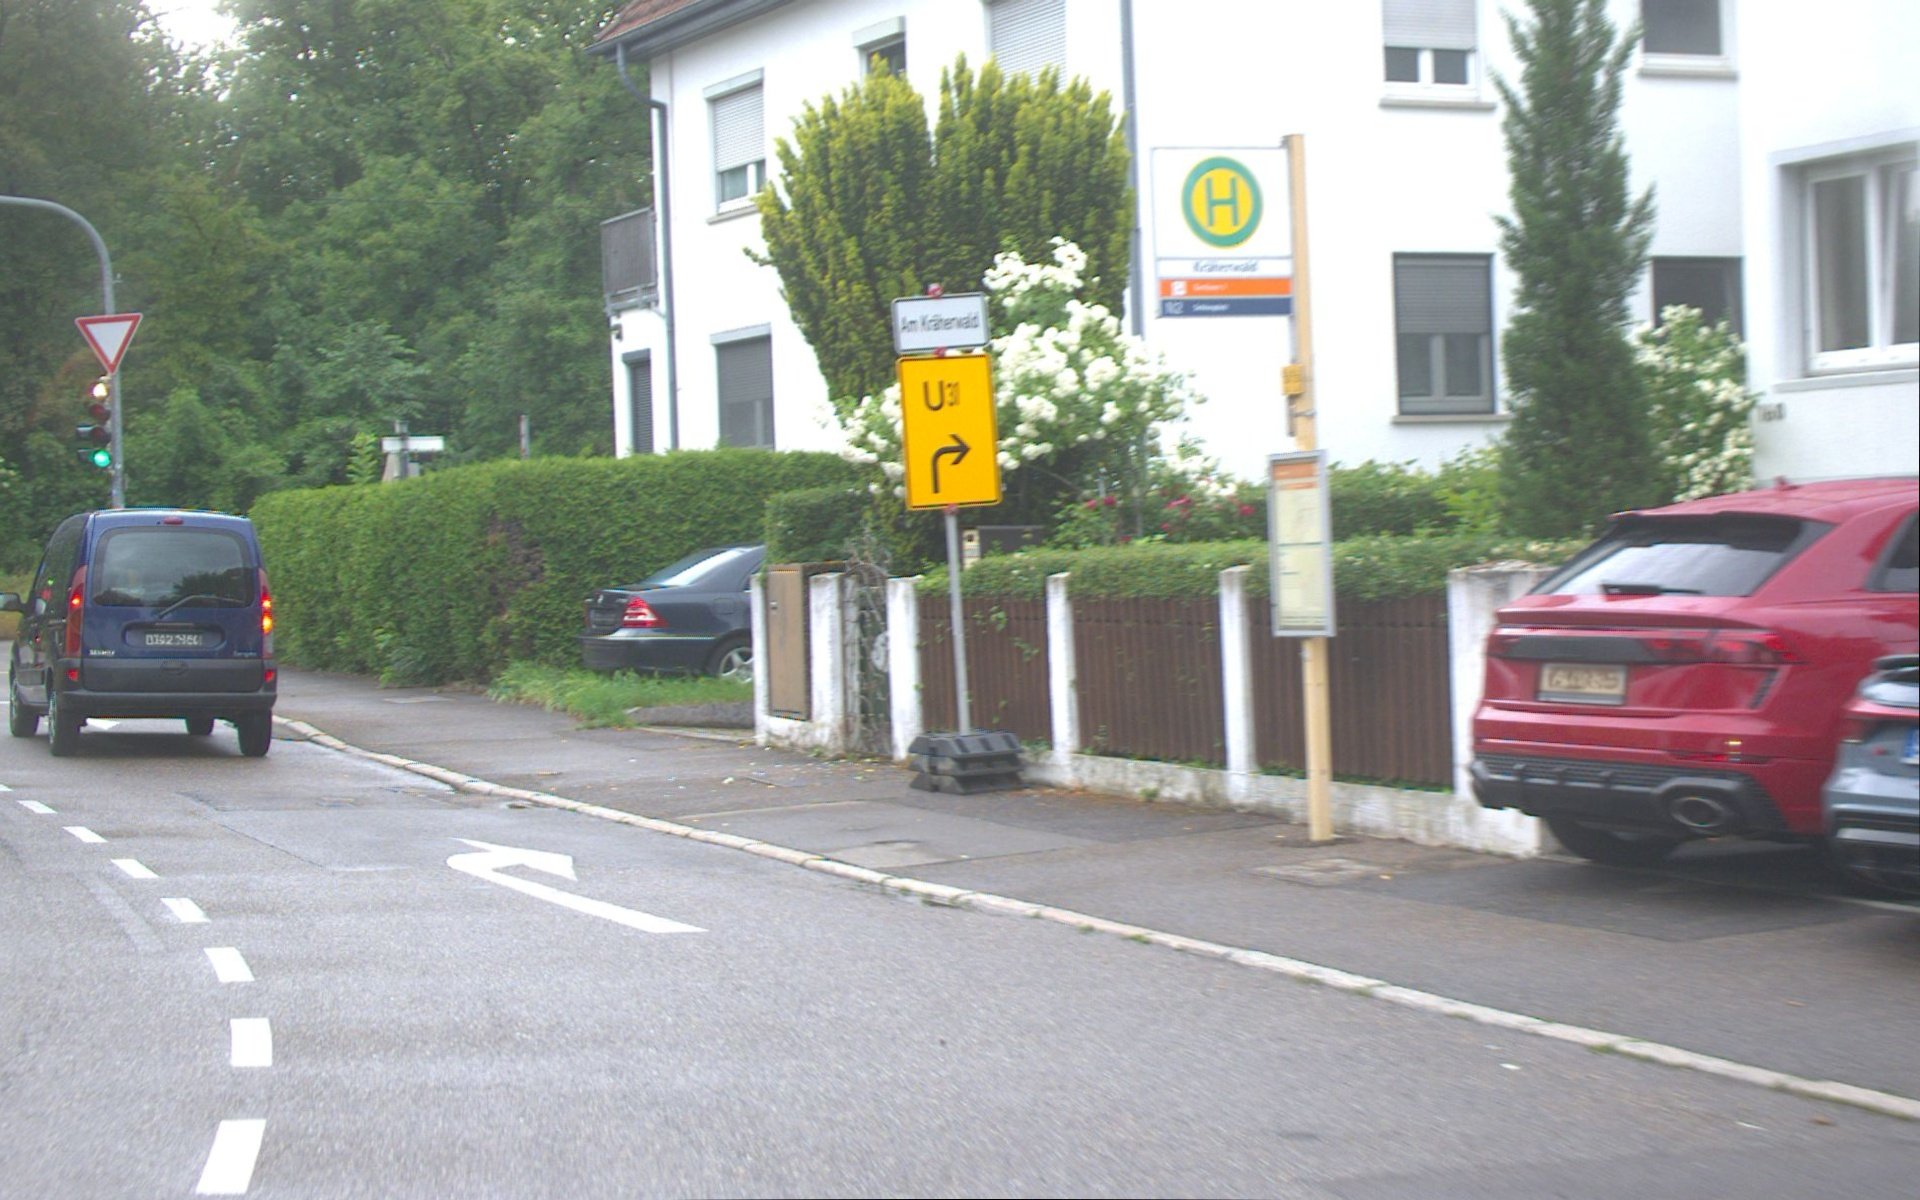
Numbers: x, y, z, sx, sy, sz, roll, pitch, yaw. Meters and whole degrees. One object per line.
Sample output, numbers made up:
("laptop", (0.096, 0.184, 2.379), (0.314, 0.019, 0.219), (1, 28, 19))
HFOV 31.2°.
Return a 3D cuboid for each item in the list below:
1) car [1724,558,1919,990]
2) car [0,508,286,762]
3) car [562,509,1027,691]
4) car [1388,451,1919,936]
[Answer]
("car", (5.253, 0.493, 12.603), (4.547, 1.411, 2.000), (-3, 3, -28))
("car", (-6.479, 0.241, 26.900), (1.808, 1.791, 4.001), (-2, 1, -19))
("car", (-1.458, -0.039, 30.308), (3.742, 1.383, 1.617), (-2, 4, -23))
("car", (4.088, 0.250, 14.613), (4.073, 1.744, 2.000), (-4, 3, -30))
